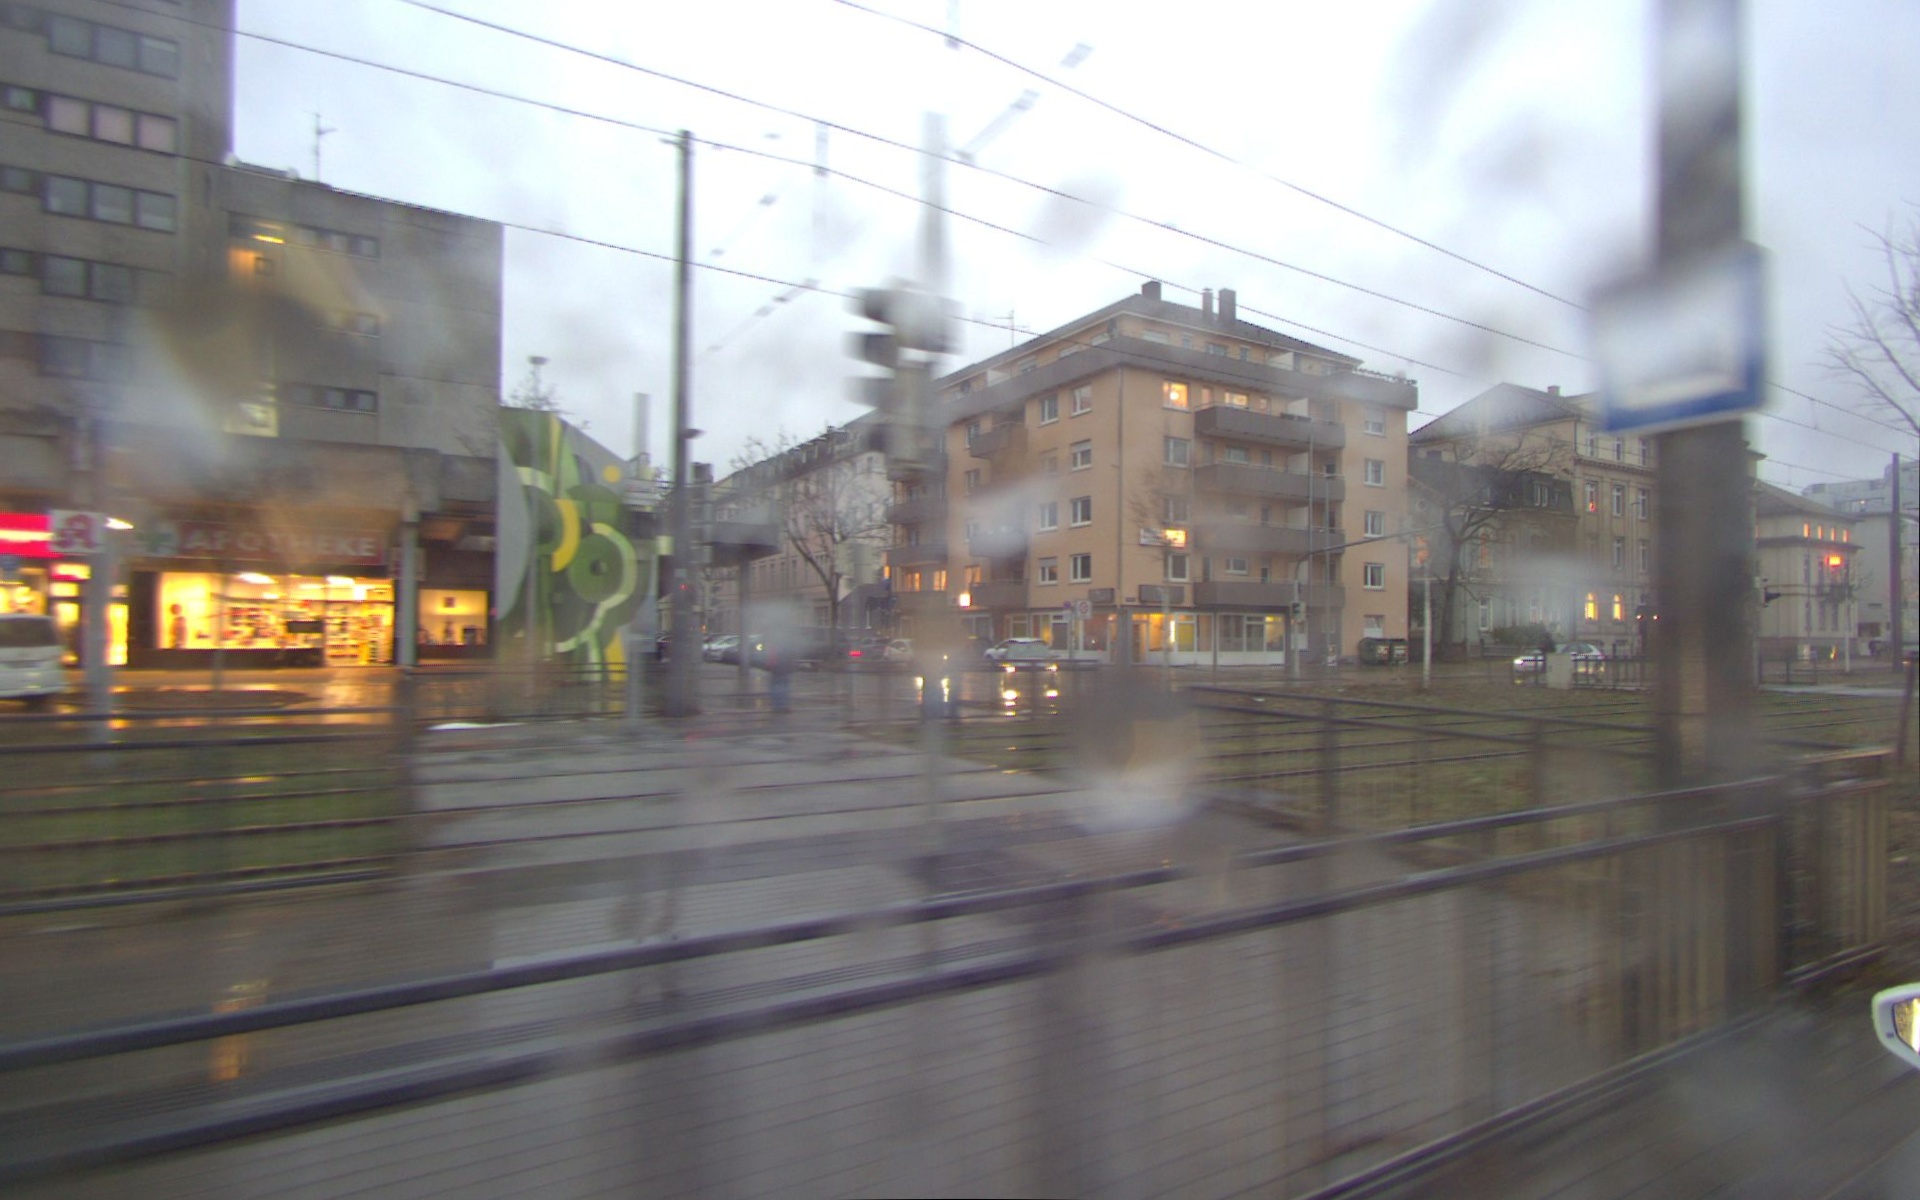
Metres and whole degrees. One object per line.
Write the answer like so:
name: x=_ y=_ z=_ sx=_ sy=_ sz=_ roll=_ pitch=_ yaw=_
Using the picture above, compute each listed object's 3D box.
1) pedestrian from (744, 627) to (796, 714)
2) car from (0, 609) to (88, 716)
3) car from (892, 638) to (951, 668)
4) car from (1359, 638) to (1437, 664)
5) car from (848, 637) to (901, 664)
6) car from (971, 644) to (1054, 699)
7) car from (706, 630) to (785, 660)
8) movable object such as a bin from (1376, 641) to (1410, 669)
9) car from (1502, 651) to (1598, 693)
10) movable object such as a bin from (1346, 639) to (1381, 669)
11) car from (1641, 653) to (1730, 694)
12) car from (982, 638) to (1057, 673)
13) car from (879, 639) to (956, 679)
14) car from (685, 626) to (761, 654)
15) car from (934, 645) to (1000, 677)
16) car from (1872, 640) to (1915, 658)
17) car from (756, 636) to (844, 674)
pedestrian: x=-3.410 y=1.246 z=17.997 sx=0.625 sy=1.509 sz=0.784 roll=1 pitch=-2 yaw=-38
car: x=-20.965 y=1.210 z=20.853 sx=4.480 sy=2.040 sz=2.001 roll=2 pitch=0 yaw=13
car: x=-2.224 y=3.001 z=57.099 sx=1.738 sy=1.572 sz=3.806 roll=1 pitch=-2 yaw=-31
car: x=26.220 y=3.045 z=60.236 sx=1.813 sy=1.425 sz=3.966 roll=2 pitch=-2 yaw=-31
car: x=-5.283 y=3.096 z=61.675 sx=1.738 sy=1.572 sz=3.806 roll=1 pitch=-2 yaw=-31
car: x=1.620 y=2.264 z=32.888 sx=1.963 sy=1.565 sz=4.700 roll=1 pitch=-1 yaw=-6
car: x=-10.935 y=2.287 z=51.213 sx=3.542 sy=1.439 sz=1.712 roll=2 pitch=-2 yaw=-34
movable object such as a bin: x=23.208 y=2.933 z=53.844 sx=1.410 sy=1.500 sz=1.101 roll=1 pitch=-2 yaw=-33
car: x=24.781 y=2.989 z=42.167 sx=3.955 sy=1.606 sz=1.792 roll=2 pitch=0 yaw=-32
movable object such as a bin: x=21.226 y=2.838 z=52.887 sx=1.410 sy=1.581 sz=1.101 roll=1 pitch=-2 yaw=-33
car: x=31.805 y=3.209 z=44.014 sx=3.955 sy=1.606 sz=1.792 roll=2 pitch=0 yaw=-32
car: x=2.830 y=2.640 z=48.411 sx=1.758 sy=1.572 sz=3.806 roll=1 pitch=-2 yaw=-31
car: x=-1.955 y=2.604 z=44.938 sx=1.667 sy=1.531 sz=3.964 roll=2 pitch=0 yaw=-33
car: x=-12.538 y=2.120 z=53.217 sx=3.542 sy=1.439 sz=1.822 roll=2 pitch=-2 yaw=-34
car: x=0.327 y=3.167 z=52.596 sx=1.738 sy=1.572 sz=3.806 roll=1 pitch=-2 yaw=-31
car: x=79.227 y=4.159 z=85.236 sx=3.885 sy=1.455 sz=1.796 roll=1 pitch=-2 yaw=-33
car: x=-7.205 y=2.451 z=45.200 sx=3.596 sy=1.622 sz=1.609 roll=2 pitch=-2 yaw=-30
